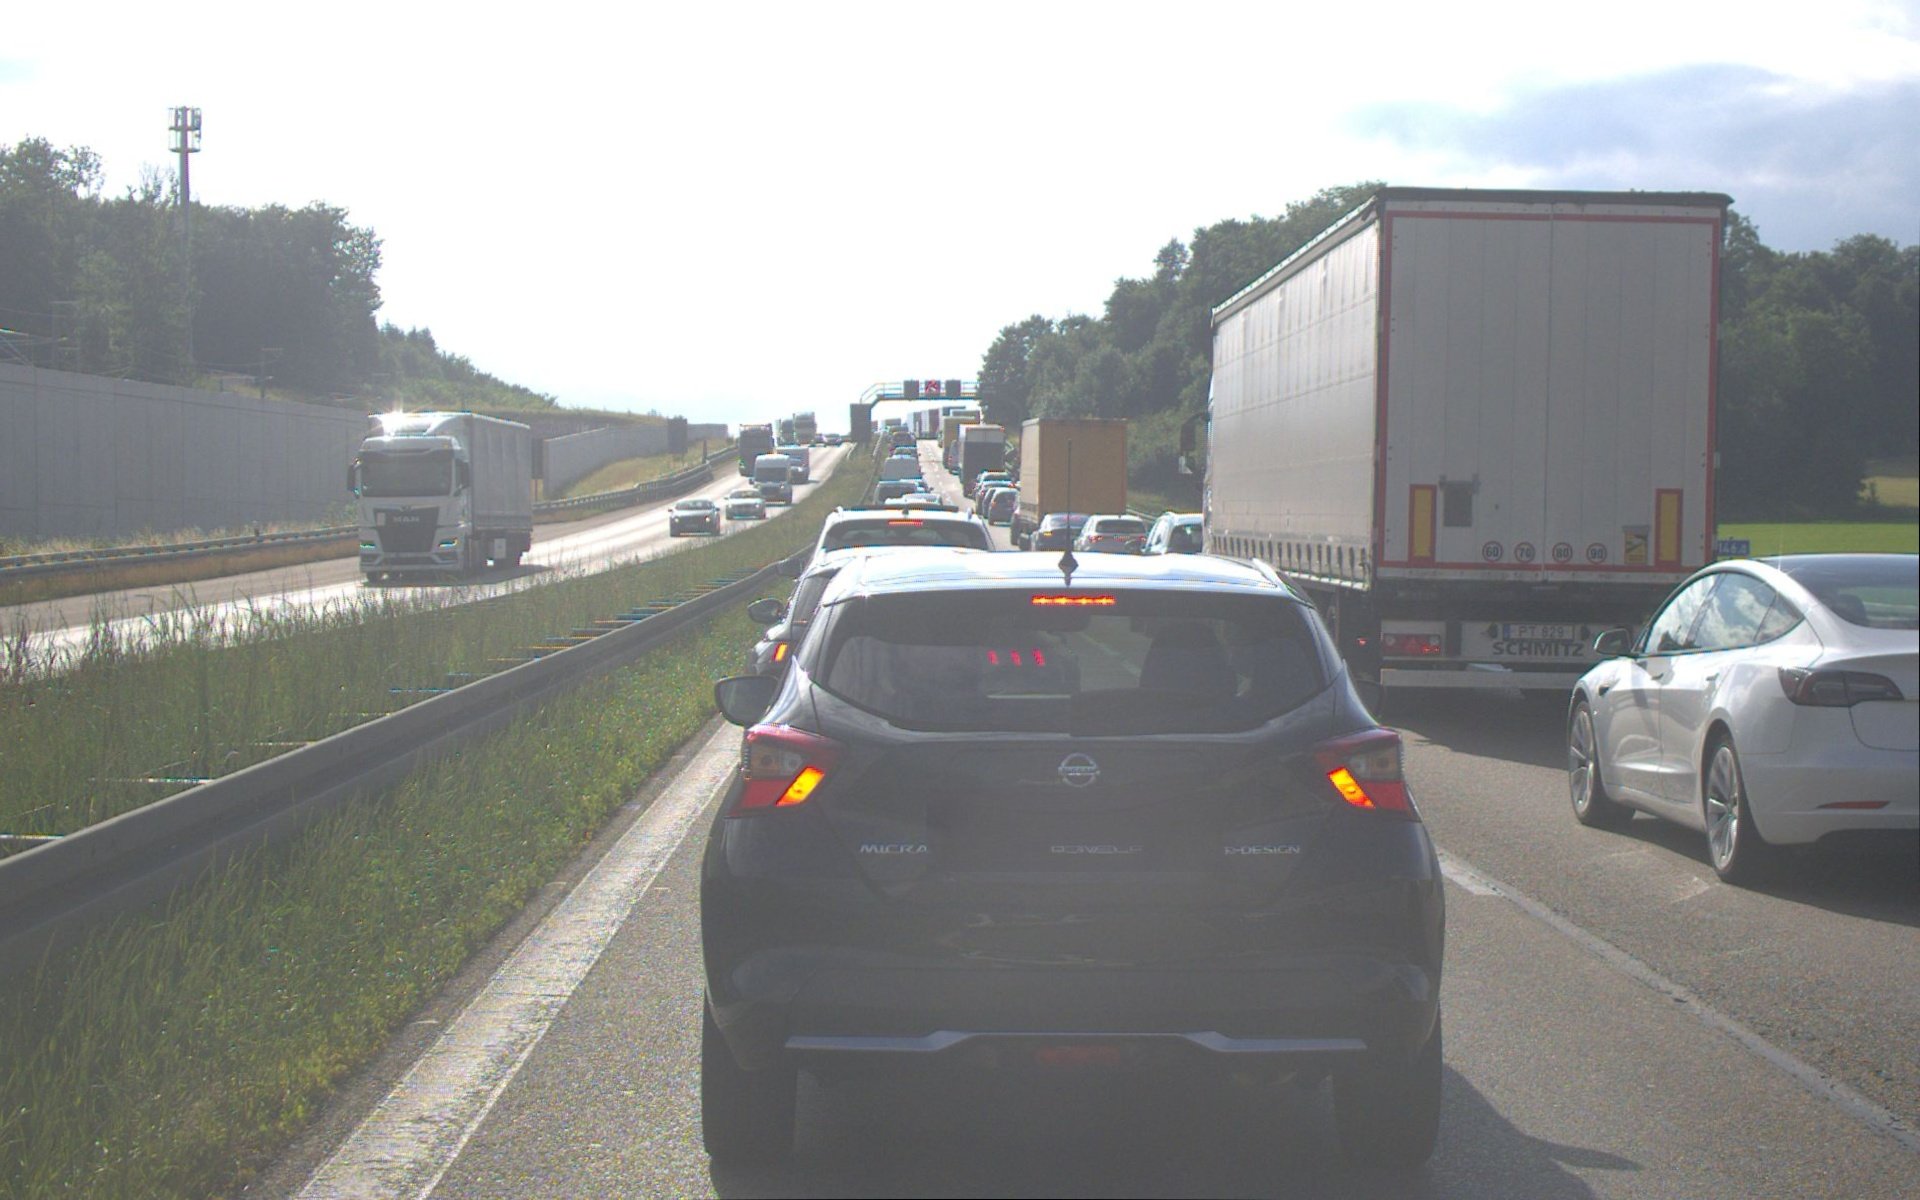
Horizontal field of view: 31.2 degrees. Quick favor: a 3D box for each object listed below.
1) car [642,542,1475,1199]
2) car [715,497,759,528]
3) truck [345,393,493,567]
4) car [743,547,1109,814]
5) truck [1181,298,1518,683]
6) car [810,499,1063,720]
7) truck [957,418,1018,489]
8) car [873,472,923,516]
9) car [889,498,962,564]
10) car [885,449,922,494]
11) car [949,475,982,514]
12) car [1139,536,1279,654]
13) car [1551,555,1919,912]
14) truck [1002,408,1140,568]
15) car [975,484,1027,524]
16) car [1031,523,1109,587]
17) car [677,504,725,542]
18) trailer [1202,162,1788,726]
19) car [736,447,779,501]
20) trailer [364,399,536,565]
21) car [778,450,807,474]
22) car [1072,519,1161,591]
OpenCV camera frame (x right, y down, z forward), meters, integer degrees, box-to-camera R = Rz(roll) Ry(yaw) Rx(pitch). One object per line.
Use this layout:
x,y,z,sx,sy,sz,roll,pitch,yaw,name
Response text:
0.188,0.566,9.444,1.773,1.446,4.232,0,1,-1,car
-10.475,-4.112,161.568,1.873,1.446,4.232,0,1,-1,car
-13.341,-2.928,85.205,2.776,4.074,5.532,-2,1,-1,truck
-0.199,0.380,19.711,1.873,1.353,4.232,0,1,-1,car
4.258,-1.159,38.692,3.133,4.002,5.164,1,0,0,truck
-0.199,0.033,27.566,1.873,1.638,4.232,0,1,-1,car
1.798,-9.804,229.898,3.464,4.561,12.443,1,2,-2,truck
-2.425,-4.119,132.985,1.873,1.638,4.233,0,3,-2,car
-0.907,-1.834,90.417,1.873,1.638,4.233,0,3,-1,car
-2.927,-6.650,177.057,1.873,2.151,5.212,0,4,-1,car
0.312,-6.291,204.281,1.873,2.151,5.212,0,4,-1,car
3.489,-0.109,48.803,1.697,1.605,4.437,0,1,0,car
4.092,0.505,16.015,1.788,1.389,4.437,0,1,-2,car
3.276,-3.284,105.141,3.296,4.561,12.442,1,1,-2,truck
1.745,-4.117,147.229,1.873,1.638,4.233,0,3,-4,car
2.909,-1.211,91.643,1.873,1.638,4.232,0,2,-1,car
-10.002,-2.957,132.998,1.651,1.446,3.956,0,1,-1,car
4.302,-1.136,31.289,3.130,3.997,13.367,1,0,0,trailer
-11.129,-6.894,189.251,2.104,2.860,5.637,0,1,-1,car
-13.523,-3.054,92.307,2.790,4.063,13.521,-2,1,-1,trailer
-11.515,-9.523,236.755,1.910,1.665,4.363,0,2,-1,car
3.713,-1.095,82.099,1.873,1.638,4.233,0,2,-1,car
